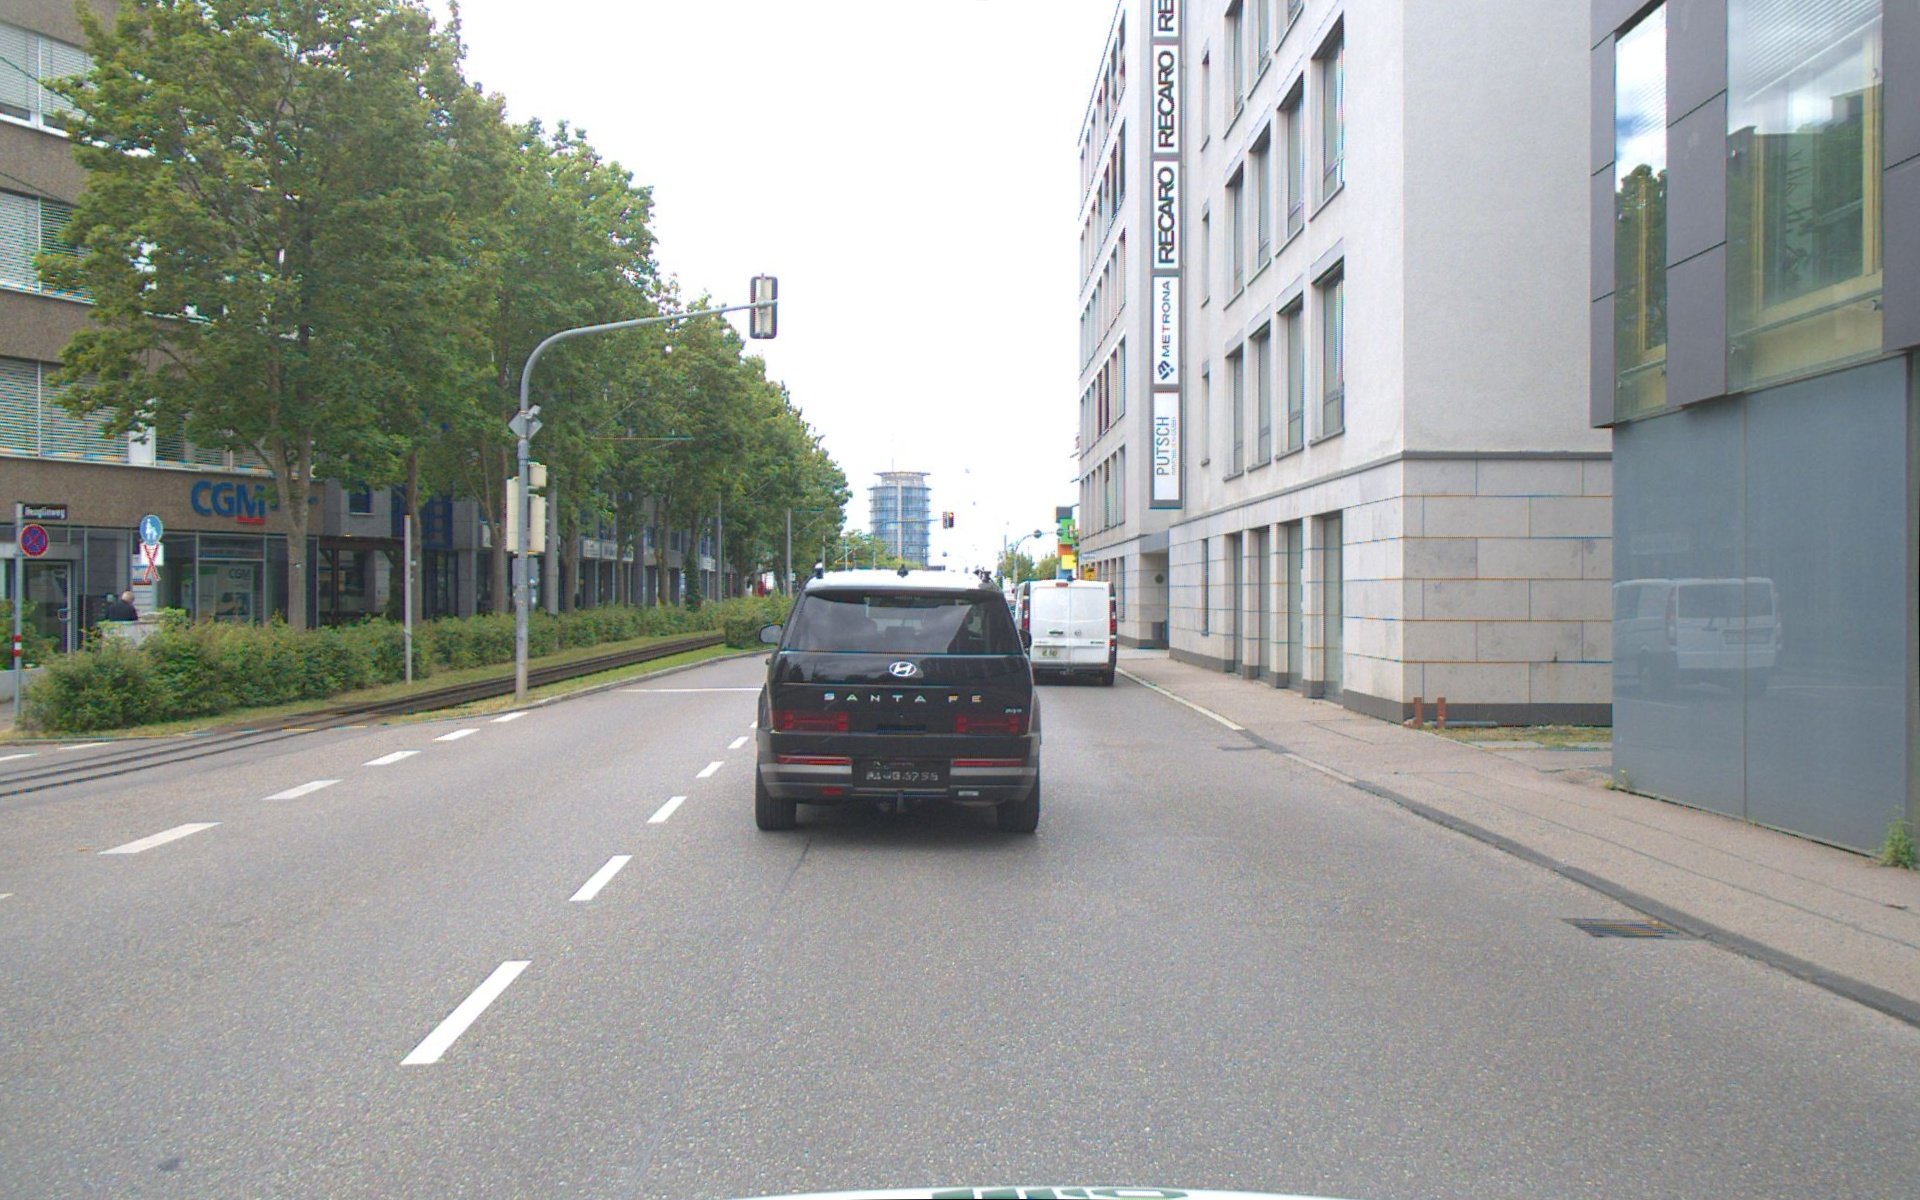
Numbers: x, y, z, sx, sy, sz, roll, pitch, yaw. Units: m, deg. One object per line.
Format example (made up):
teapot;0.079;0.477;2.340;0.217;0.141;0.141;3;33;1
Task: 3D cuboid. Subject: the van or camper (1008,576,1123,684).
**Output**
van or camper;1.991;0.539;32.452;1.953;1.949;4.331;1;0;0

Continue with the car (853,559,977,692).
car;-0.829;0.379;27.623;1.893;2.029;4.531;0;0;-4

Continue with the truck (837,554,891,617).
truck;-4.179;-0.633;72.952;2.121;2.661;5.795;0;0;-1

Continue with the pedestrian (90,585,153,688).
pedestrian;-14.460;0.624;28.533;0.673;1.735;0.683;-2;0;2

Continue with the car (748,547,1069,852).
car;-0.471;0.598;11.994;1.871;1.780;4.392;1;0;-5

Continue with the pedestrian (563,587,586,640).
pedestrian;-14.416;0.504;61.915;0.661;1.942;0.622;-2;0;0
